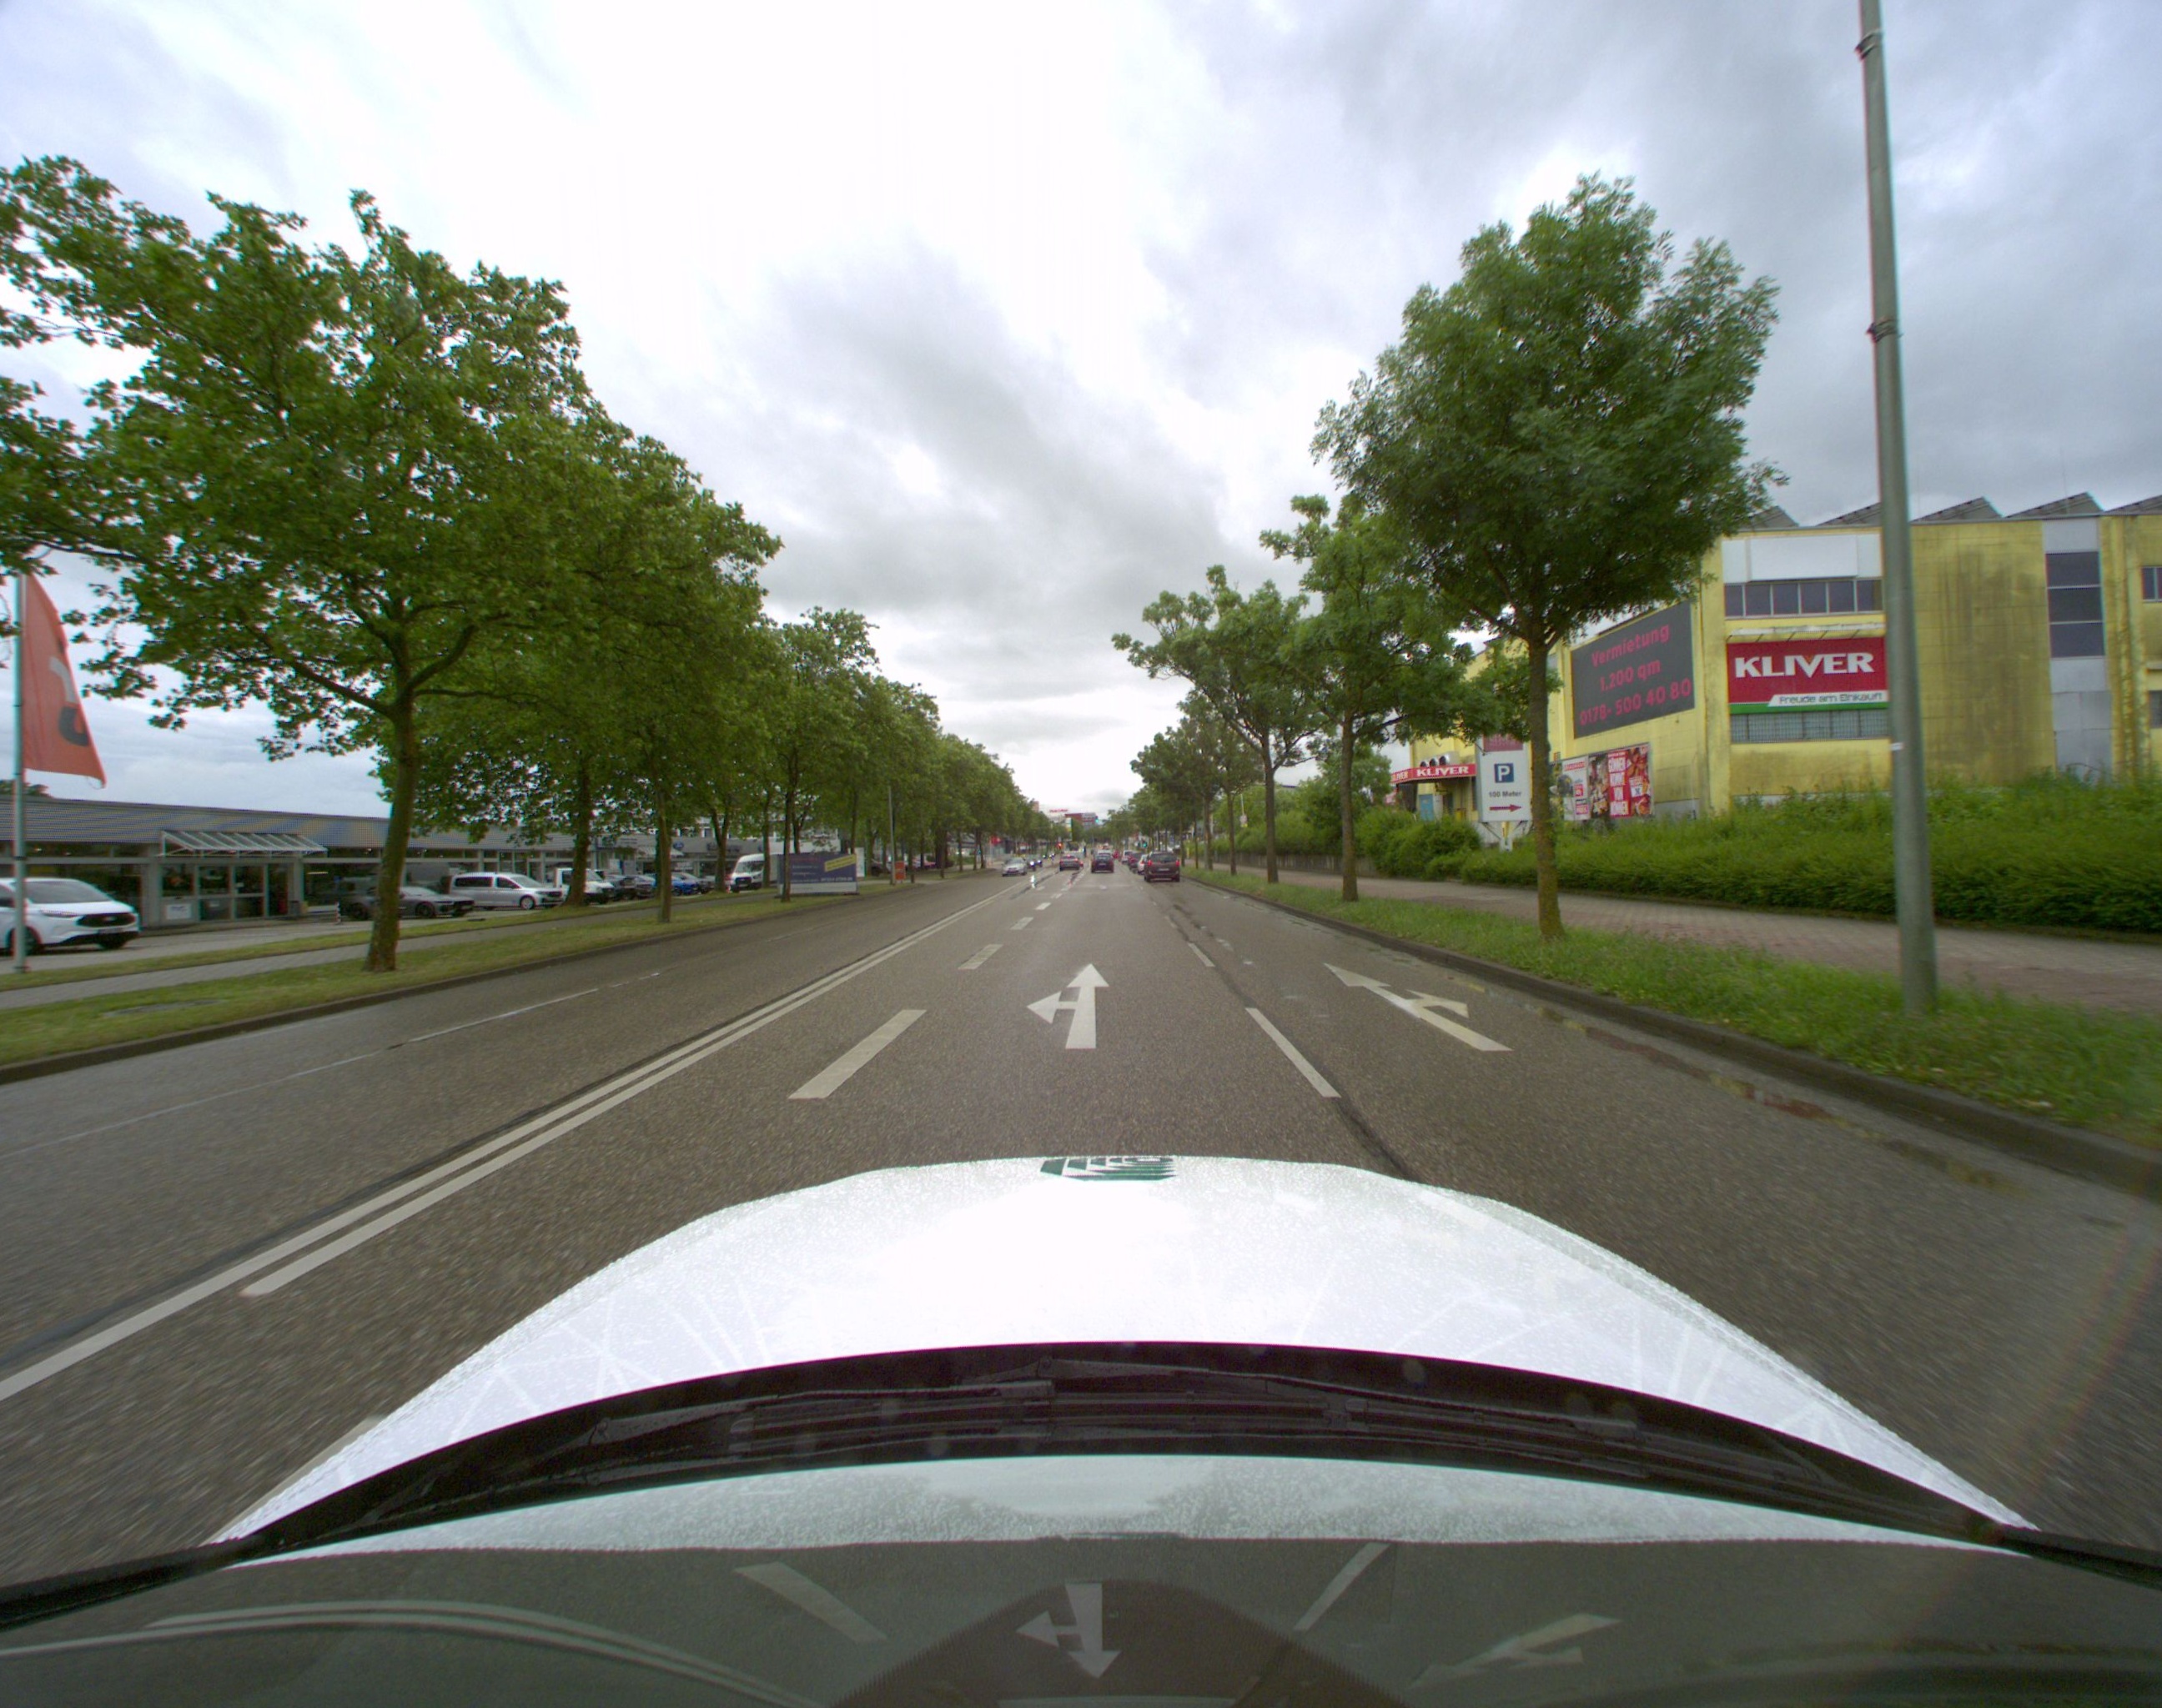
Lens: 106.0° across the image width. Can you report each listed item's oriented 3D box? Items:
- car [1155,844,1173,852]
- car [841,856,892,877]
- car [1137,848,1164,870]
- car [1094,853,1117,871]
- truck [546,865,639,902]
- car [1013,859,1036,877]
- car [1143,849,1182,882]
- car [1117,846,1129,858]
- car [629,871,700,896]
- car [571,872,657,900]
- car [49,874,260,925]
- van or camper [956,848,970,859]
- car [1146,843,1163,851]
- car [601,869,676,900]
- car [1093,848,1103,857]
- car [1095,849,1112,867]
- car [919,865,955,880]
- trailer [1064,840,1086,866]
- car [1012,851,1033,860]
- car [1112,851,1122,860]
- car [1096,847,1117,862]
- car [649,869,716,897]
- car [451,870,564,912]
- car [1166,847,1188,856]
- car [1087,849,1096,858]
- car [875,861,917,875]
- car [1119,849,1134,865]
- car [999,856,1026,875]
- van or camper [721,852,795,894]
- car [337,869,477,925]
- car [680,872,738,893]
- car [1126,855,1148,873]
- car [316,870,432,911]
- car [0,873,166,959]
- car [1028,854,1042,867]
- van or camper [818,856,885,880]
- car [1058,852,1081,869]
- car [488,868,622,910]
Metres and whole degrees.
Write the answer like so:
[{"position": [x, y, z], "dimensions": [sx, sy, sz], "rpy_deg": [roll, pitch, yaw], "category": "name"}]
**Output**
[{"position": [17.602, -1.184, 172.593], "dimensions": [3.617, 1.536, 1.625], "rpy_deg": [-3, 0, -39], "category": "car"}, {"position": [-20.446, 1.198, 77.544], "dimensions": [4.471, 1.816, 1.985], "rpy_deg": [-2, 0, -22], "category": "car"}, {"position": [5.097, 0.374, 60.174], "dimensions": [1.794, 1.544, 4.622], "rpy_deg": [0, 0, 2], "category": "car"}, {"position": [1.954, 0.605, 66.623], "dimensions": [1.775, 1.398, 4.000], "rpy_deg": [-1, 0, 1], "category": "car"}, {"position": [-27.716, 1.658, 46.320], "dimensions": [3.985, 1.838, 1.994], "rpy_deg": [-2, 0, -9], "category": "truck"}, {"position": [-5.602, 1.368, 81.123], "dimensions": [1.756, 1.531, 3.859], "rpy_deg": [-4, 0, 2], "category": "car"}, {"position": [4.356, 0.576, 44.239], "dimensions": [1.720, 1.624, 4.472], "rpy_deg": [-2, 0, 1], "category": "car"}, {"position": [6.251, -0.311, 120.630], "dimensions": [1.678, 1.684, 3.404], "rpy_deg": [-1, -1, 2], "category": "car"}, {"position": [-27.719, 1.956, 54.220], "dimensions": [3.957, 1.520, 1.873], "rpy_deg": [-2, 0, 15], "category": "car"}, {"position": [-28.105, 1.912, 49.125], "dimensions": [3.969, 1.461, 2.036], "rpy_deg": [-2, 0, 4], "category": "car"}, {"position": [-39.012, 1.856, 34.553], "dimensions": [5.361, 1.838, 2.370], "rpy_deg": [-1, -1, -27], "category": "car"}, {"position": [-22.080, -0.088, 152.441], "dimensions": [1.986, 1.967, 4.789], "rpy_deg": [-1, -1, 1], "category": "van or camper"}, {"position": [18.294, -1.716, 202.093], "dimensions": [4.094, 1.904, 1.801], "rpy_deg": [-3, 1, 2], "category": "car"}, {"position": [-28.039, 1.920, 51.614], "dimensions": [3.956, 1.766, 1.873], "rpy_deg": [-2, 0, 16], "category": "car"}, {"position": [3.598, -0.311, 173.878], "dimensions": [1.986, 2.014, 4.002], "rpy_deg": [-1, -1, 2], "category": "car"}, {"position": [2.632, 0.507, 95.687], "dimensions": [1.986, 2.014, 4.001], "rpy_deg": [-1, -1, 1], "category": "car"}, {"position": [-18.507, 2.402, 104.704], "dimensions": [4.236, 1.596, 1.985], "rpy_deg": [-4, 1, -23], "category": "car"}, {"position": [-0.673, -0.130, 94.764], "dimensions": [2.365, 2.897, 5.545], "rpy_deg": [-3, 0, 0], "category": "trailer"}, {"position": [-12.535, 0.337, 173.957], "dimensions": [3.948, 1.552, 1.912], "rpy_deg": [-2, 1, 35], "category": "car"}, {"position": [6.419, 0.242, 144.169], "dimensions": [1.689, 1.443, 3.991], "rpy_deg": [-2, 0, 2], "category": "car"}, {"position": [2.510, 0.033, 81.134], "dimensions": [1.678, 1.377, 3.997], "rpy_deg": [-2, 0, -2], "category": "car"}, {"position": [-27.775, 2.000, 56.794], "dimensions": [3.956, 1.766, 1.873], "rpy_deg": [-2, 0, 17], "category": "car"}, {"position": [-27.589, 1.771, 39.280], "dimensions": [3.976, 1.766, 1.881], "rpy_deg": [-2, 0, -2], "category": "car"}, {"position": [18.174, -0.514, 154.603], "dimensions": [1.907, 1.576, 4.315], "rpy_deg": [-2, 0, 42], "category": "car"}, {"position": [2.560, -0.079, 198.520], "dimensions": [1.986, 2.014, 4.002], "rpy_deg": [-1, -1, 2], "category": "car"}, {"position": [-21.922, 1.662, 96.406], "dimensions": [4.572, 1.596, 1.986], "rpy_deg": [-1, 0, -22], "category": "car"}, {"position": [5.955, 0.358, 106.050], "dimensions": [1.775, 1.866, 4.002], "rpy_deg": [-3, 0, 2], "category": "car"}, {"position": [-5.551, 0.929, 66.580], "dimensions": [1.989, 1.429, 4.681], "rpy_deg": [-3, 0, -3], "category": "car"}, {"position": [-20.429, 1.109, 51.858], "dimensions": [1.986, 2.470, 6.404], "rpy_deg": [-1, 0, 2], "category": "van or camper"}, {"position": [-27.364, 1.705, 33.170], "dimensions": [3.976, 2.013, 1.881], "rpy_deg": [-2, 0, -2], "category": "car"}, {"position": [-29.216, 2.203, 64.027], "dimensions": [3.867, 1.467, 1.605], "rpy_deg": [-2, 0, 13], "category": "car"}, {"position": [5.069, 0.897, 74.396], "dimensions": [1.794, 1.587, 4.452], "rpy_deg": [0, 0, 2], "category": "car"}, {"position": [-34.619, 1.773, 39.962], "dimensions": [3.975, 1.766, 1.864], "rpy_deg": [-2, 0, -1], "category": "car"}, {"position": [-27.689, 1.641, 21.261], "dimensions": [5.030, 2.013, 2.129], "rpy_deg": [-2, 0, -1], "category": "car"}, {"position": [-5.732, 0.844, 100.900], "dimensions": [1.663, 1.462, 4.174], "rpy_deg": [-3, 0, -5], "category": "car"}, {"position": [-19.853, 1.210, 70.415], "dimensions": [5.308, 1.821, 2.248], "rpy_deg": [-2, 0, -25], "category": "van or camper"}, {"position": [-1.082, 0.598, 79.567], "dimensions": [1.900, 1.578, 4.882], "rpy_deg": [-3, 0, 1], "category": "car"}, {"position": [-27.600, 1.820, 42.917], "dimensions": [5.362, 1.903, 2.414], "rpy_deg": [-2, 0, -3], "category": "car"}]
